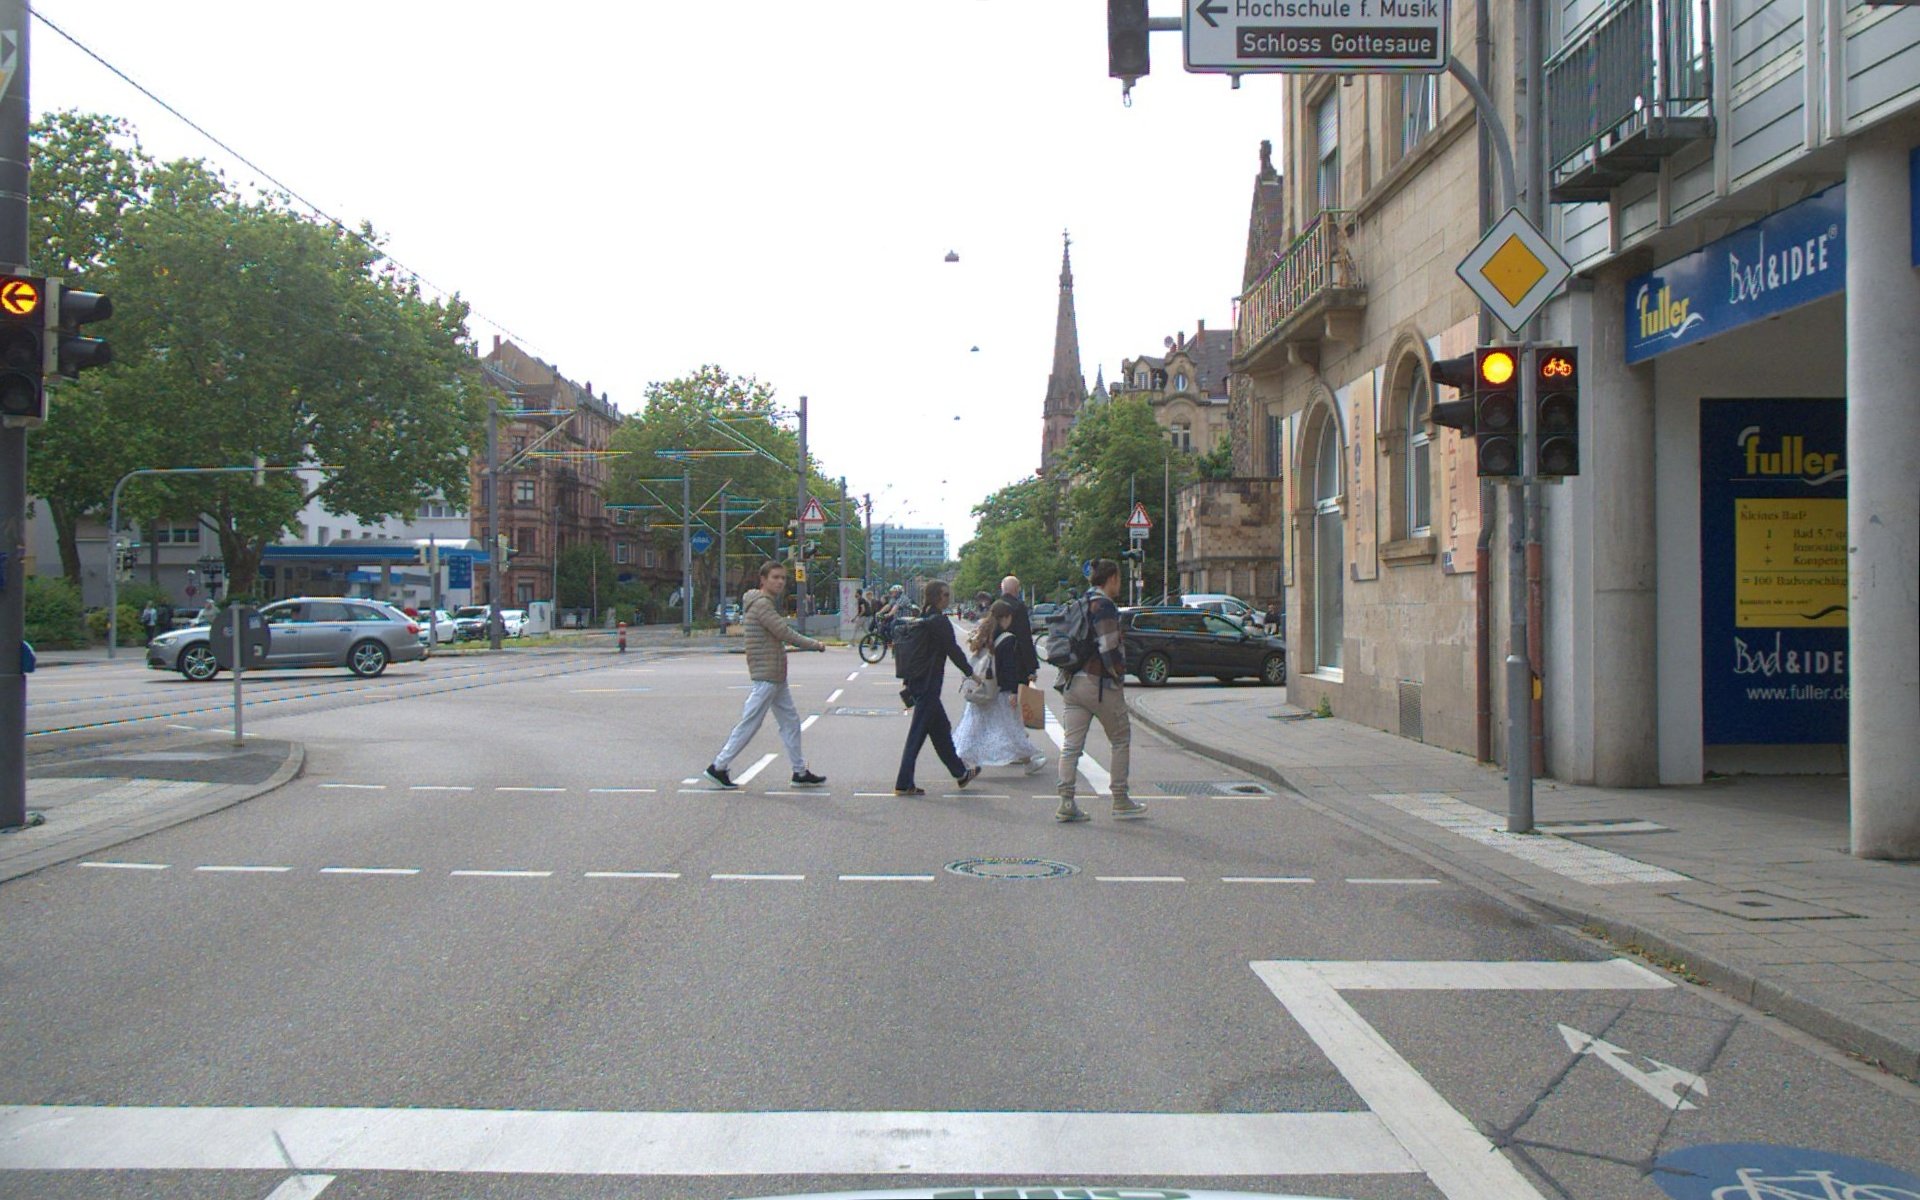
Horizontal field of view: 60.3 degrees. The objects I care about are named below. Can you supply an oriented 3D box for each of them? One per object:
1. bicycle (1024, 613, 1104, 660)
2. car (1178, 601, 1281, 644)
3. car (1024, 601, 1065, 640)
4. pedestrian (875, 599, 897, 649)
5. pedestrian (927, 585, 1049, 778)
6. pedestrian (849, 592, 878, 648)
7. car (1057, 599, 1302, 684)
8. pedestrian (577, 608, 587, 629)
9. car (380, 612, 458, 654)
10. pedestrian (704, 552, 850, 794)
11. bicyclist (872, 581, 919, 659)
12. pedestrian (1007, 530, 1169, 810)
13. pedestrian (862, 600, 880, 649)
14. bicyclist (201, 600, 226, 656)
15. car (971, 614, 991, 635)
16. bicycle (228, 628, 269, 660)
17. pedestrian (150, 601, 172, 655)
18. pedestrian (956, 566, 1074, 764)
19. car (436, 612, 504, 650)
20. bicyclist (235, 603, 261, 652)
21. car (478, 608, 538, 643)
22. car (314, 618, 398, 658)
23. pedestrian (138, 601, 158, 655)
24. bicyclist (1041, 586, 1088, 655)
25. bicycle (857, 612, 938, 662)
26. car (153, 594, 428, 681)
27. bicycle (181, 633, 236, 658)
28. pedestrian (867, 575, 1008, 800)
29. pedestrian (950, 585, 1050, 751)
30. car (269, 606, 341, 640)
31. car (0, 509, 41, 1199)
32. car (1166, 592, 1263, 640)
[{"bbox_3d":[2.653,0.935,42.185,1.910,1.155,0.731,1,-1,-22],"label":"bicycle"},{"bbox_3d":[10.666,0.896,65.696,3.721,1.629,2.000,1,-1,-1],"label":"car"},{"bbox_3d":[4.621,1.118,90.929,1.953,2.049,3.999,1,0,-1],"label":"car"},{"bbox_3d":[-2.341,0.746,52.395,0.640,1.564,0.465,1,-1,-5],"label":"pedestrian"},{"bbox_3d":[0.250,0.690,14.429,0.689,1.621,0.828,0,-1,36],"label":"pedestrian"},{"bbox_3d":[-2.940,0.607,50.340,0.834,1.683,0.508,1,-1,-3],"label":"pedestrian"},{"bbox_3d":[4.218,0.798,31.762,4.371,1.536,1.826,1,-1,-23],"label":"car"},{"bbox_3d":[-26.341,1.282,115.282,0.444,1.486,0.523,0,-1,40],"label":"pedestrian"},{"bbox_3d":[-21.402,1.290,65.589,1.856,1.585,3.835,1,0,-1],"label":"car"},{"bbox_3d":[-1.453,0.569,13.101,0.998,1.845,0.580,1,-1,-24],"label":"pedestrian"},{"bbox_3d":[-1.553,0.489,39.783,0.955,1.851,0.527,1,-1,-30],"label":"bicyclist"},{"bbox_3d":[0.893,0.460,11.354,0.616,1.810,1.129,-1,-1,36],"label":"pedestrian"},{"bbox_3d":[-2.860,0.782,52.901,0.535,1.564,0.465,1,-1,-5],"label":"pedestrian"},{"bbox_3d":[-24.689,0.922,54.715,0.522,1.815,0.470,1,-1,19],"label":"bicyclist"},{"bbox_3d":[2.217,2.545,173.037,1.953,2.049,3.999,1,0,-1],"label":"car"},{"bbox_3d":[-23.689,1.448,55.085,0.511,1.035,1.936,1,0,-1],"label":"bicycle"},{"bbox_3d":[-27.279,0.957,56.466,0.367,1.815,0.551,1,-1,30],"label":"pedestrian"},{"bbox_3d":[0.527,0.597,15.754,0.900,1.815,0.645,0,-1,37],"label":"pedestrian"},{"bbox_3d":[-21.507,1.341,72.703,1.856,1.585,3.835,1,0,-1],"label":"car"},{"bbox_3d":[-23.739,0.921,55.177,0.576,1.595,0.618,1,-1,-1],"label":"bicyclist"},{"bbox_3d":[-21.696,1.217,79.488,1.856,1.585,3.835,1,0,-1],"label":"car"},{"bbox_3d":[-21.664,1.337,59.477,1.601,1.349,3.999,1,0,-1],"label":"car"},{"bbox_3d":[-27.726,0.946,56.460,0.367,1.815,0.448,1,-1,32],"label":"pedestrian"},{"bbox_3d":[2.664,0.524,42.219,1.023,1.713,0.641,1,-1,-21],"label":"bicyclist"},{"bbox_3d":[-1.505,0.898,39.789,1.880,1.162,0.622,1,-1,-30],"label":"bicycle"},{"bbox_3d":[-12.543,0.714,31.196,4.653,1.536,1.826,1,-1,-23],"label":"car"},{"bbox_3d":[-24.888,1.504,54.776,1.645,0.786,0.656,1,-1,20],"label":"bicycle"},{"bbox_3d":[-0.169,0.663,12.973,0.616,1.681,0.993,0,-1,36],"label":"pedestrian"},{"bbox_3d":[0.433,0.703,17.545,0.659,1.709,0.864,0,-1,38],"label":"pedestrian"},{"bbox_3d":[-31.874,1.111,80.611,1.953,1.557,3.999,1,0,-1],"label":"car"},{"bbox_3d":[-2.969,0.595,1.563,1.842,1.629,4.355,0,0,-2],"label":"car"},{"bbox_3d":[10.620,0.662,69.108,3.721,1.937,2.000,1,-1,-1],"label":"car"}]
